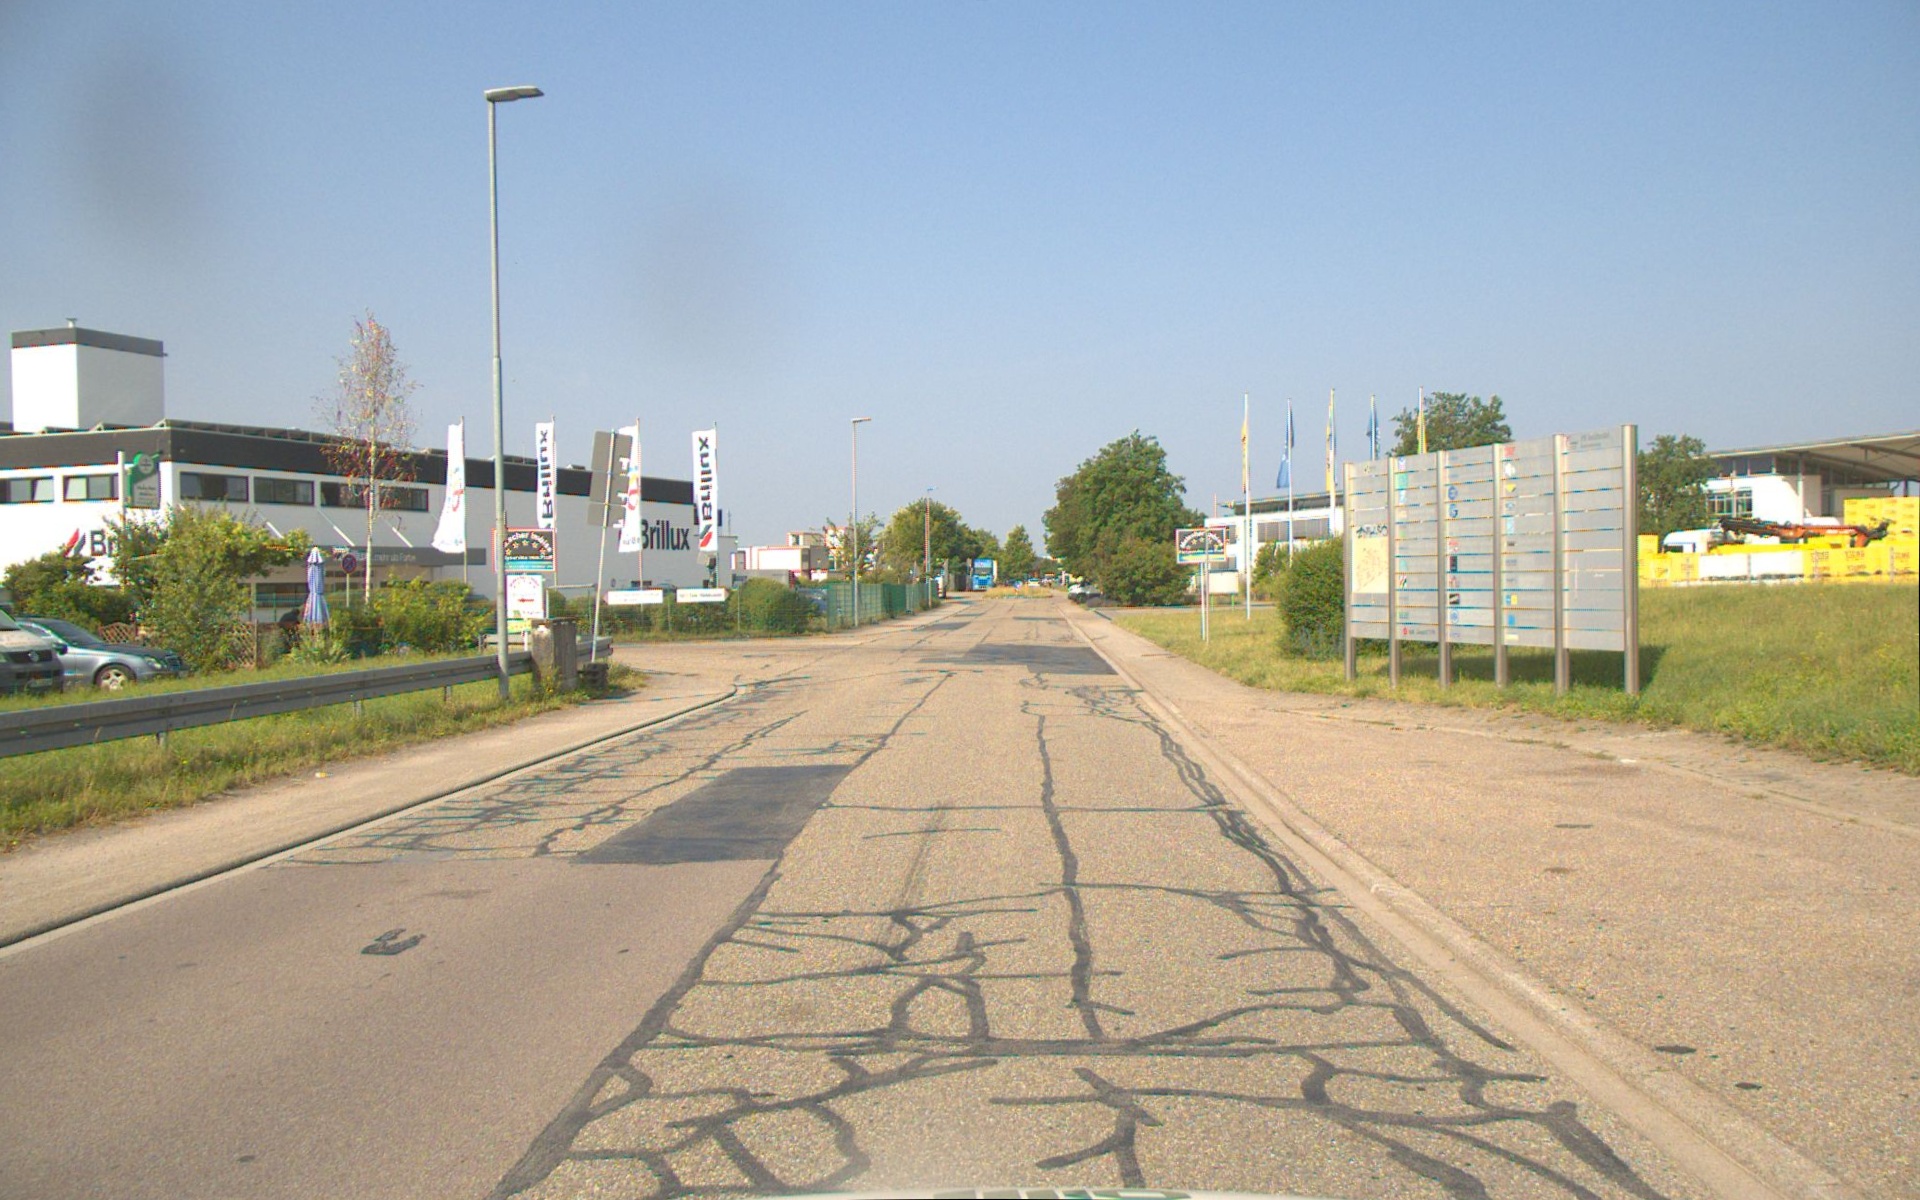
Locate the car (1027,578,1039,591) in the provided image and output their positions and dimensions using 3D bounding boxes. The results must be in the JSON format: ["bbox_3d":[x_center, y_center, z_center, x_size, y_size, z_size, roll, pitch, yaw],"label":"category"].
[{"bbox_3d":[10.321,-2.198,233.988,1.683,1.690,3.824,1,0,1],"label":"car"}]

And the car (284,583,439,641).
[{"bbox_3d":[-19.635,0.386,54.278,4.556,1.782,2.151,-1,0,24],"label":"car"}]

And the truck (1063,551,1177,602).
[{"bbox_3d":[11.586,-1.671,120.260,8.038,3.429,2.741,-2,-1,1],"label":"truck"}]

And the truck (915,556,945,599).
[{"bbox_3d":[-2.887,-2.167,160.691,2.652,3.990,4.297,1,0,2],"label":"truck"}]

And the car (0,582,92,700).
[{"bbox_3d":[-16.494,0.692,25.575,5.150,1.735,2.002,-2,0,7],"label":"car"}]

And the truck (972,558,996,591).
[{"bbox_3d":[3.023,-3.144,204.882,2.766,3.892,9.675,1,0,2],"label":"truck"}]

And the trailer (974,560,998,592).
[{"bbox_3d":[3.389,-3.095,214.990,2.772,3.910,12.039,1,0,2],"label":"trailer"}]

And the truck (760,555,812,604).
[{"bbox_3d":[-15.104,-1.776,143.781,2.460,4.142,5.546,1,0,17],"label":"truck"}]

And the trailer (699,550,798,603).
[{"bbox_3d":[-17.326,-1.845,136.861,2.430,4.112,13.894,1,0,18],"label":"trailer"}]

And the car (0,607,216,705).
[{"bbox_3d":[-15.831,0.978,28.922,4.732,1.536,1.960,-2,0,-8],"label":"car"}]
